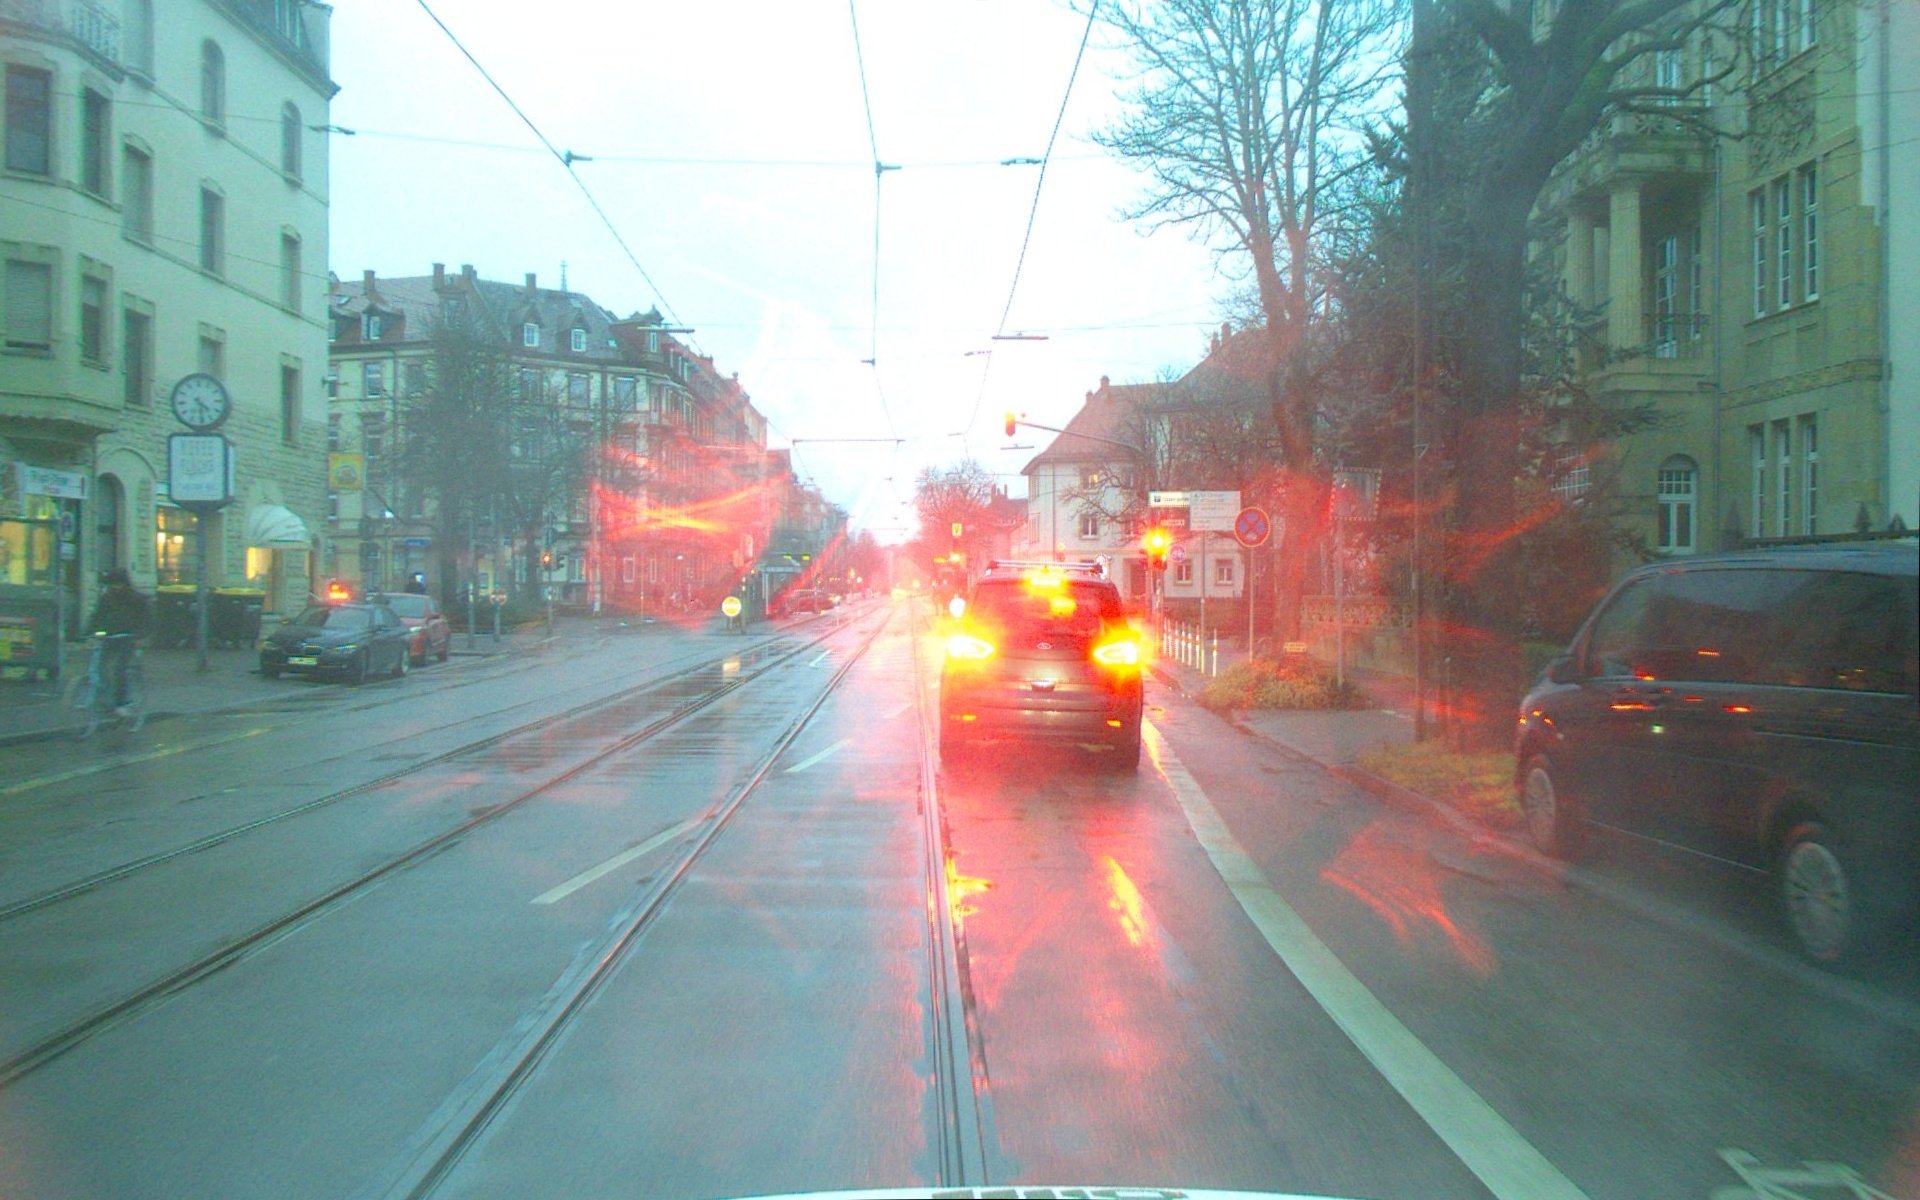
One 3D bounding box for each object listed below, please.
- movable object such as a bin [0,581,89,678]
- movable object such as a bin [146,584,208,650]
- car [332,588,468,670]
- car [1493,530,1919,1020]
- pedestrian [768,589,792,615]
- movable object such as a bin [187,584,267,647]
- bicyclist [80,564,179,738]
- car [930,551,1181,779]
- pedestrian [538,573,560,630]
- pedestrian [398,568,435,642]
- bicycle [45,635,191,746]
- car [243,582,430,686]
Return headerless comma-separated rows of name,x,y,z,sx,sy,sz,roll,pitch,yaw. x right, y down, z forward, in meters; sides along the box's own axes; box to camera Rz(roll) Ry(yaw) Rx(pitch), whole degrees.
movable object such as a bin,-14.370,0.440,25.485,1.241,1.445,1.250,1,0,-1
movable object such as a bin,-17.025,0.364,35.987,0.880,1.401,1.006,0,0,-1
car,-12.609,0.609,37.472,1.999,1.578,4.026,4,1,-6
car,4.671,0.655,8.739,1.989,1.908,4.962,-1,0,-2
pedestrian,-8.421,0.096,77.468,1.026,1.221,0.885,1,0,0
movable object such as a bin,-16.594,0.350,37.486,1.267,1.391,1.252,0,0,-2
bicyclist,-9.336,0.552,18.623,0.610,1.909,0.991,0,0,1
car,0.836,0.536,16.255,2.060,1.848,4.661,2,0,1
pedestrian,-14.812,0.041,59.612,0.694,2.049,0.656,0,0,-21
pedestrian,-15.023,0.136,45.732,0.743,2.049,0.646,0,-1,35
bicycle,-9.346,0.980,18.450,0.610,1.112,1.948,0,0,1
car,-11.773,0.626,31.587,1.947,1.674,4.627,5,-1,-4
